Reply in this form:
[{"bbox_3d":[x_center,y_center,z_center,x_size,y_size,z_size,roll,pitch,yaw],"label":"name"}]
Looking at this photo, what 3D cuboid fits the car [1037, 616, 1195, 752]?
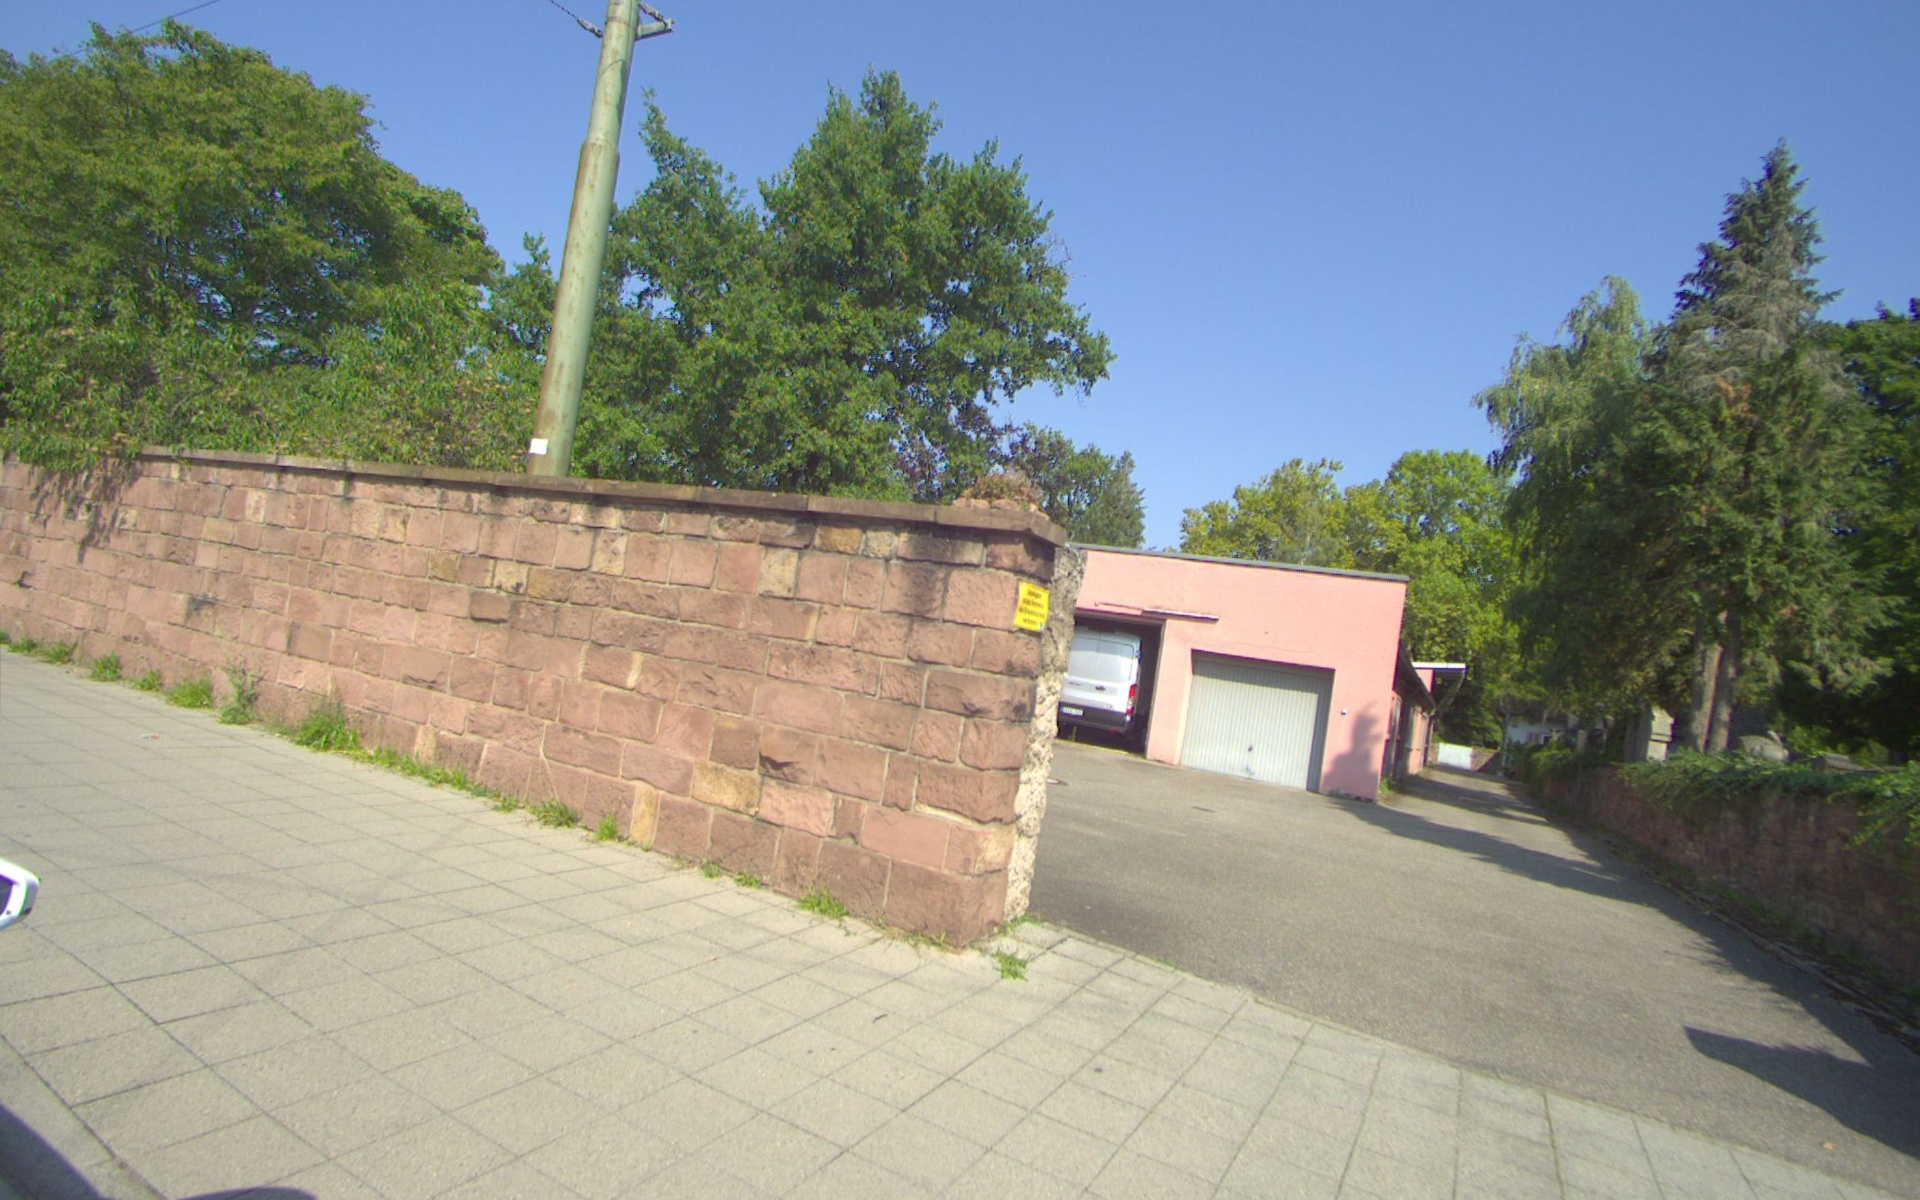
[{"bbox_3d":[3.662,1.987,22.918,2.030,2.558,4.002,7,-4,29],"label":"car"}]
